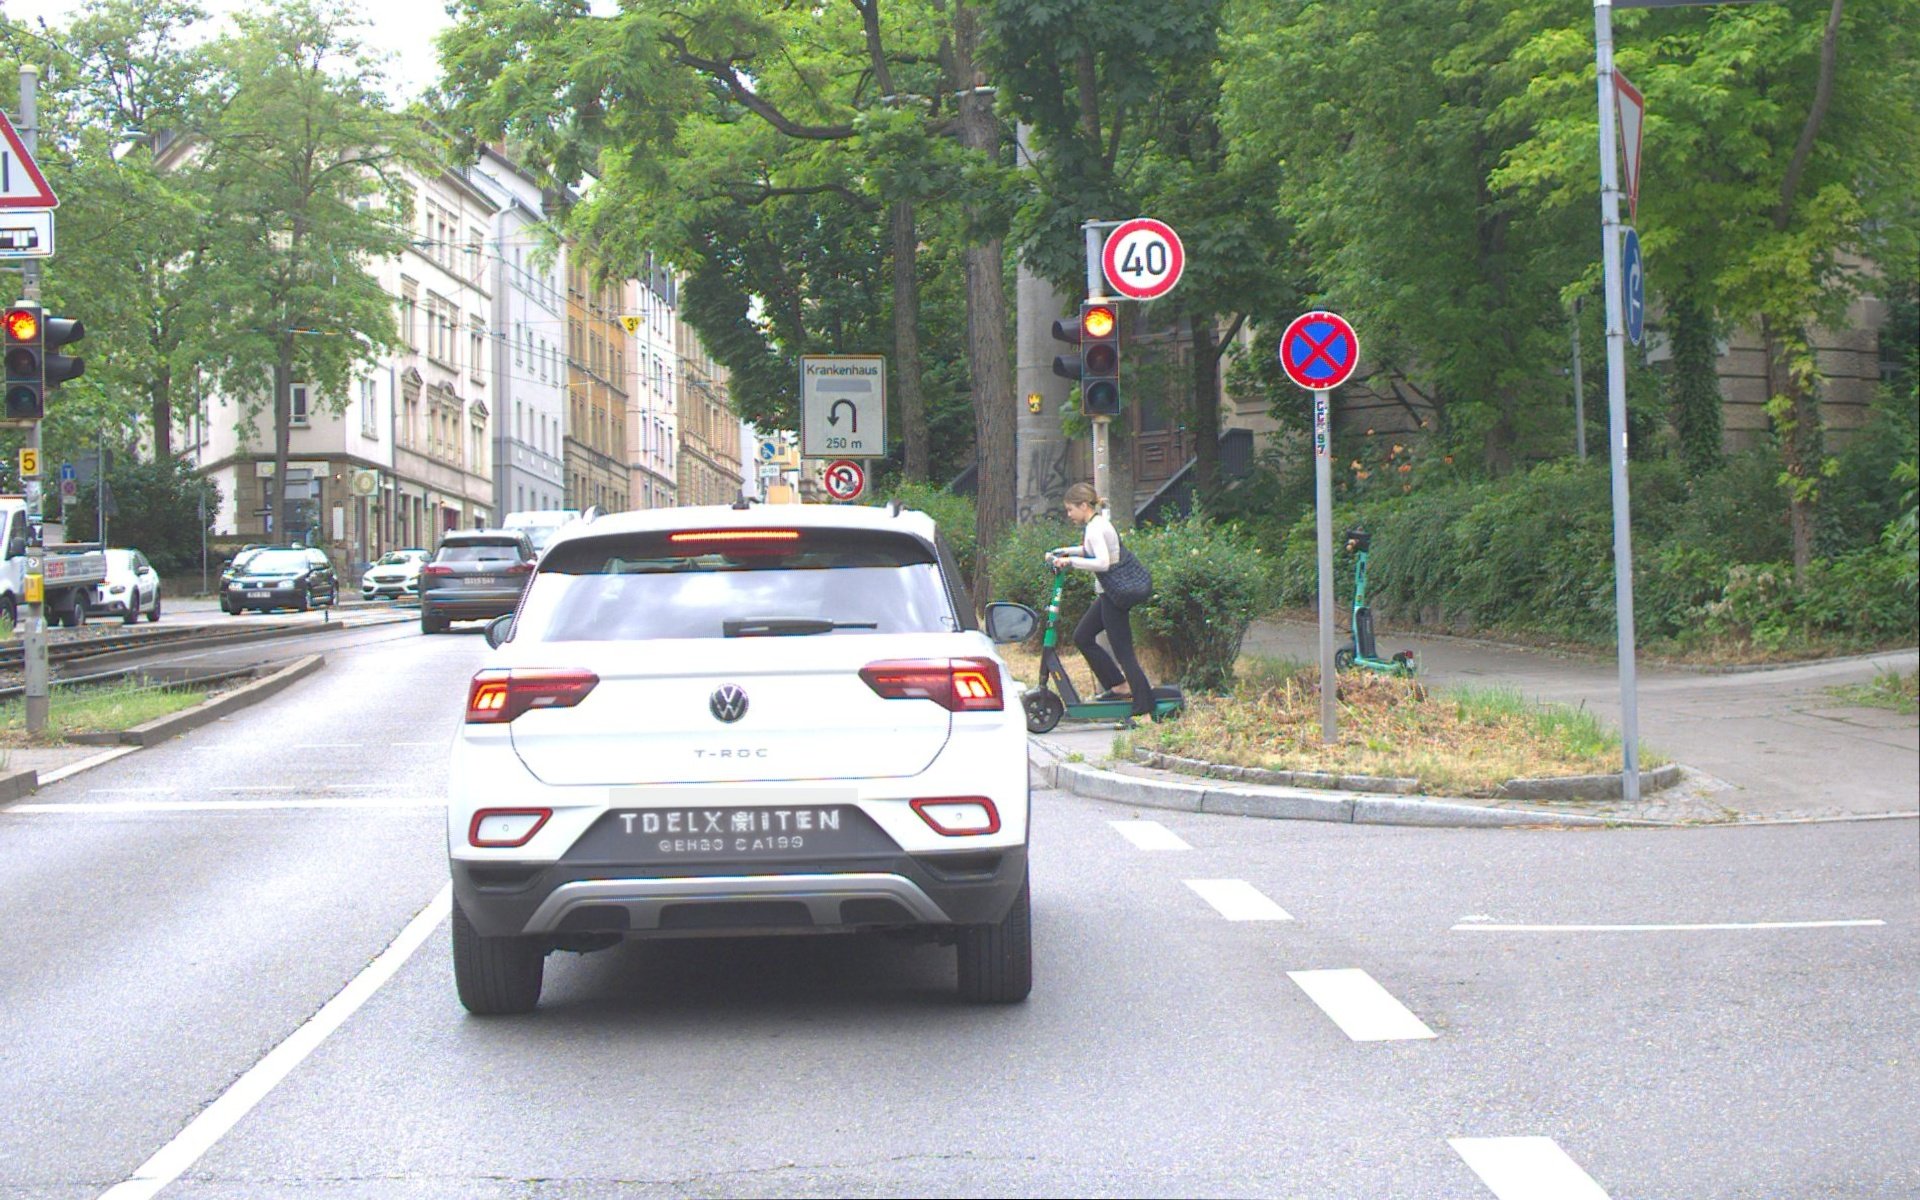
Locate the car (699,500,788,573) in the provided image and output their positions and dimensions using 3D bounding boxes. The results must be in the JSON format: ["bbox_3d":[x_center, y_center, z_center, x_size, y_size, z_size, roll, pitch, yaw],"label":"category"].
[{"bbox_3d":[-6.753,-2.012,107.889,2.421,2.162,6.034,-2,1,-1],"label":"car"}]

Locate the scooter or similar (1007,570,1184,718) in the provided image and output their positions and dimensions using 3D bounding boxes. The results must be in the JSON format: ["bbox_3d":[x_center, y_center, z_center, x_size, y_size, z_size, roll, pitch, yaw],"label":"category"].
[{"bbox_3d":[0.955,0.304,24.074,1.187,0.991,0.531,-2,1,5],"label":"scooter or similar"}]

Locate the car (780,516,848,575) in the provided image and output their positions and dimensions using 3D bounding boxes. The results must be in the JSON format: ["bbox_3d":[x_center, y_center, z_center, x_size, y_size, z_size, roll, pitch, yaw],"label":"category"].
[{"bbox_3d":[-5.629,-2.112,132.989,2.421,2.162,6.034,-2,1,-1],"label":"car"}]

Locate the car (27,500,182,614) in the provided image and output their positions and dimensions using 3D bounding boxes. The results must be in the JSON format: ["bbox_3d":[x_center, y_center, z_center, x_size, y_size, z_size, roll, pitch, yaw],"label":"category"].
[{"bbox_3d":[-16.604,-0.806,66.926,1.993,2.007,4.000,2,-1,-1],"label":"car"}]

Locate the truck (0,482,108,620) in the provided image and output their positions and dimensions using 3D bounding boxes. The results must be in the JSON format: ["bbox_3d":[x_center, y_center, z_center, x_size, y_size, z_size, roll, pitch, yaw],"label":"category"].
[{"bbox_3d":[-16.113,-0.790,57.128,2.421,2.162,6.033,2,0,-1],"label":"truck"}]

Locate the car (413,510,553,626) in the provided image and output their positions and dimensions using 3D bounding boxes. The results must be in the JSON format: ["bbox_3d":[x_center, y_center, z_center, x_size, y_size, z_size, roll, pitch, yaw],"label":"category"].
[{"bbox_3d":[-7.782,-0.559,56.386,1.839,1.733,4.001,-2,2,-2],"label":"car"}]

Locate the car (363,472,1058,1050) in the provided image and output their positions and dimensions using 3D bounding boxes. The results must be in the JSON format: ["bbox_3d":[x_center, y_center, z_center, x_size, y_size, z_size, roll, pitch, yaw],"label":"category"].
[{"bbox_3d":[-0.735,0.380,11.716,1.938,1.561,4.047,-1,3,-1],"label":"car"}]

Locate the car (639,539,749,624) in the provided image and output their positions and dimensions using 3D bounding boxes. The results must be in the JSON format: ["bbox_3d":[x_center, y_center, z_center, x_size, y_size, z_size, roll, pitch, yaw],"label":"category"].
[{"bbox_3d":[-5.524,-0.364,71.824,1.993,1.618,4.000,2,-1,-1],"label":"car"}]

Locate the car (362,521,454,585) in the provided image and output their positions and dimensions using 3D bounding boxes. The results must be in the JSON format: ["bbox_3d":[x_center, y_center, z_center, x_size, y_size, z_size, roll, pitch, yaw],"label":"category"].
[{"bbox_3d":[-15.741,-1.317,98.144,1.993,1.618,4.000,2,-1,-1],"label":"car"}]

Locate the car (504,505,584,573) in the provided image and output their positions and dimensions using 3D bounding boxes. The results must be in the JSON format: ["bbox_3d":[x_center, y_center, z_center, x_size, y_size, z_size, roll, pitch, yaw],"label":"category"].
[{"bbox_3d":[-12.854,-1.883,106.482,1.993,2.007,4.000,-2,1,-1],"label":"car"}]

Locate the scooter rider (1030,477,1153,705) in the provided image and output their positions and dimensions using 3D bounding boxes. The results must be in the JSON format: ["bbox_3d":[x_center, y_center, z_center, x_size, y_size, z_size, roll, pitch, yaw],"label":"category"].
[{"bbox_3d":[0.926,-0.067,24.073,0.778,1.552,0.532,-2,1,6],"label":"scooter rider"}]

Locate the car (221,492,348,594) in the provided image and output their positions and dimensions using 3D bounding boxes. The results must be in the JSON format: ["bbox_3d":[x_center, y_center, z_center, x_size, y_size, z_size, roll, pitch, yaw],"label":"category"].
[{"bbox_3d":[-14.667,-1.218,74.847,1.993,2.007,4.000,2,-1,-1],"label":"car"}]

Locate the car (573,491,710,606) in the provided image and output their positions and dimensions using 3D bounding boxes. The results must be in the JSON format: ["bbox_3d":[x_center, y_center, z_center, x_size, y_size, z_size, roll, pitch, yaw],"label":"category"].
[{"bbox_3d":[-4.868,-0.763,52.972,1.902,1.569,3.834,2,-1,-3],"label":"car"}]

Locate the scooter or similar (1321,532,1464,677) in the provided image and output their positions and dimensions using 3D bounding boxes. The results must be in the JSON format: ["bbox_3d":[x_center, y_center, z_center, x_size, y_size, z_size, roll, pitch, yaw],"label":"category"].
[{"bbox_3d":[3.376,0.027,26.921,0.474,1.096,1.369,-2,1,-22],"label":"scooter or similar"}]
